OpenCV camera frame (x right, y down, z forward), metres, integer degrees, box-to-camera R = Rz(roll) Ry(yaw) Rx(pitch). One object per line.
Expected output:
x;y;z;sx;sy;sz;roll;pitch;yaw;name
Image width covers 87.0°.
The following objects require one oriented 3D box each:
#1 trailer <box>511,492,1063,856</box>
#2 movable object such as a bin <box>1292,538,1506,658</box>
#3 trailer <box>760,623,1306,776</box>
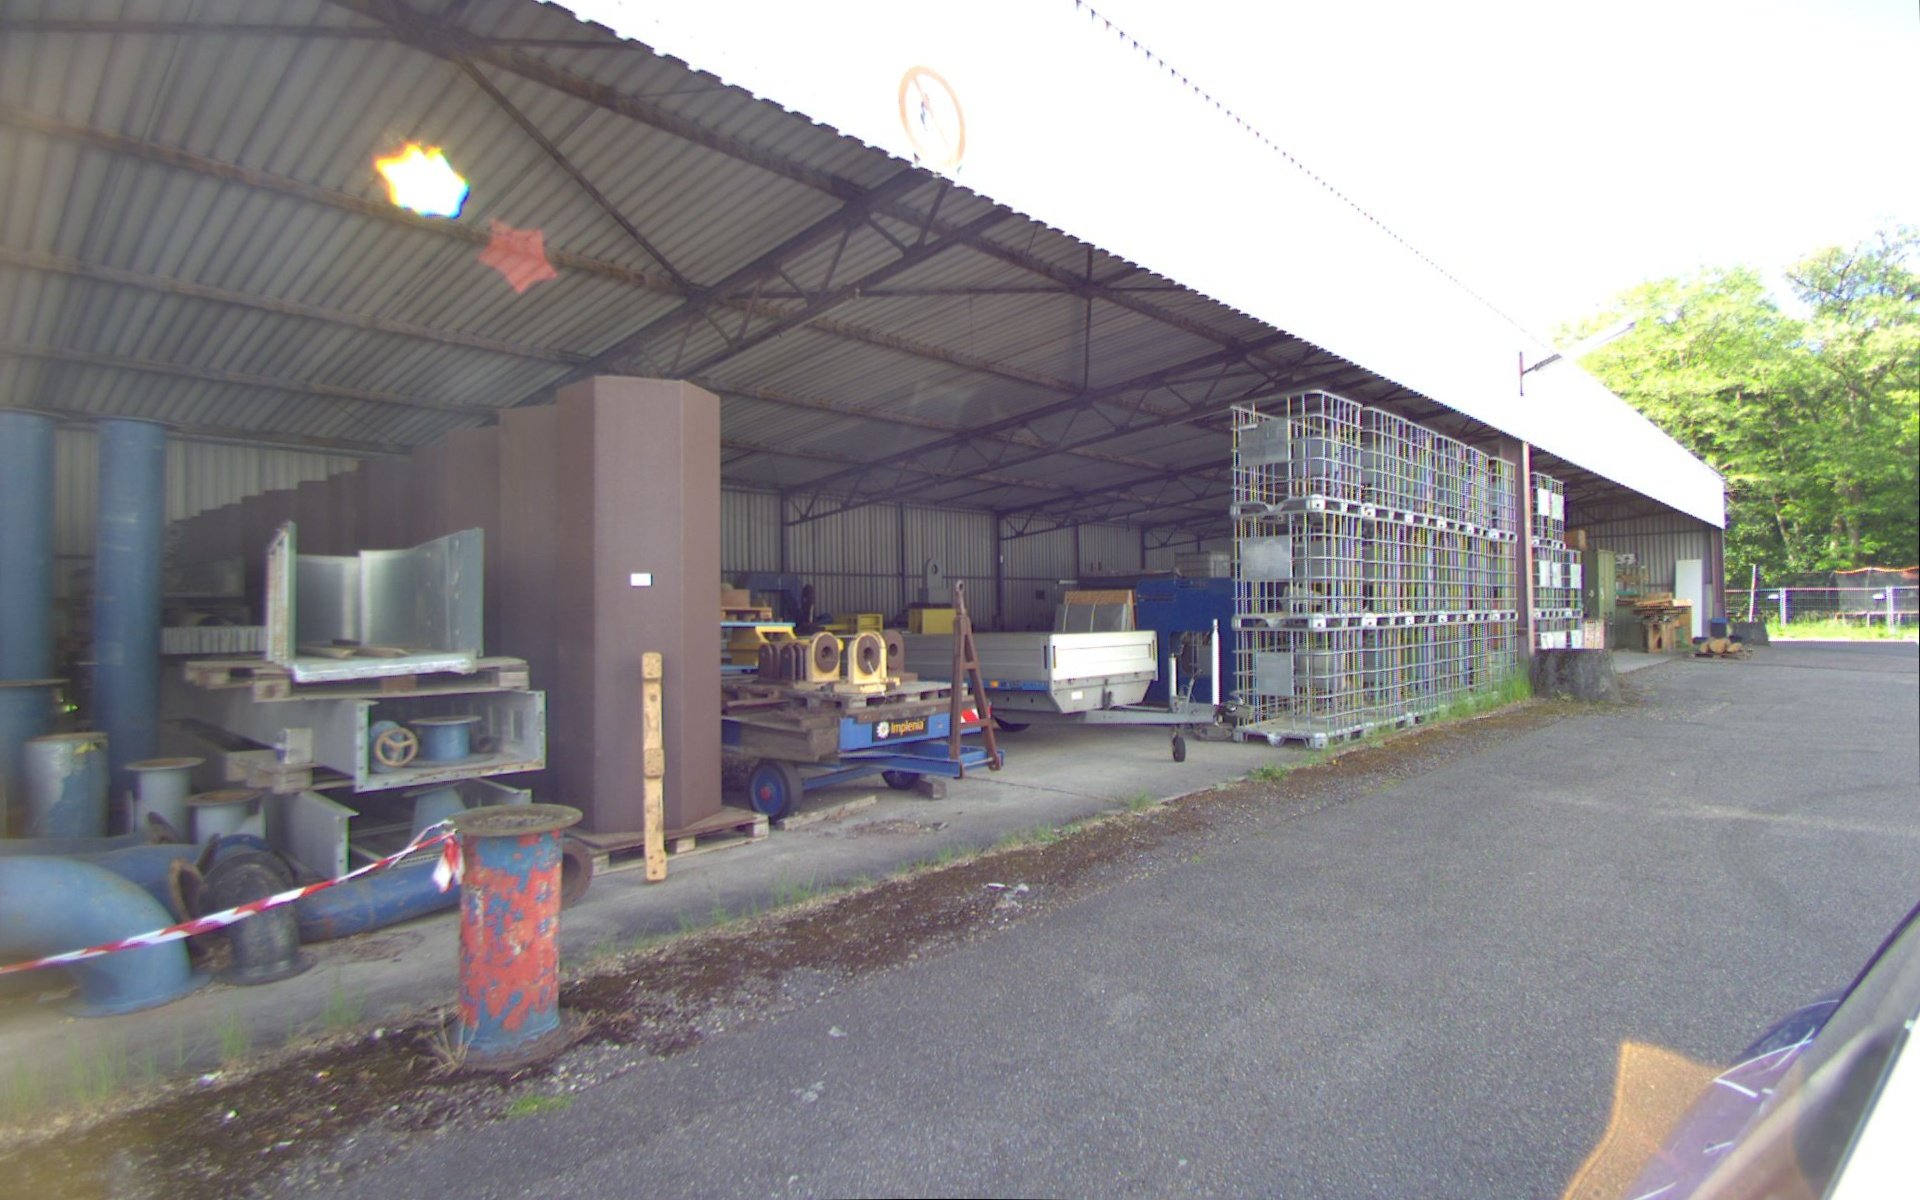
-1.666;0.398;8.077;2.013;2.022;4.821;-1;0;-44;trailer
10.978;-0.035;25.497;4.611;2.757;1.970;0;-1;42;movable object such as a bin
0.440;0.841;10.598;5.730;1.147;1.978;-1;-1;42;trailer
